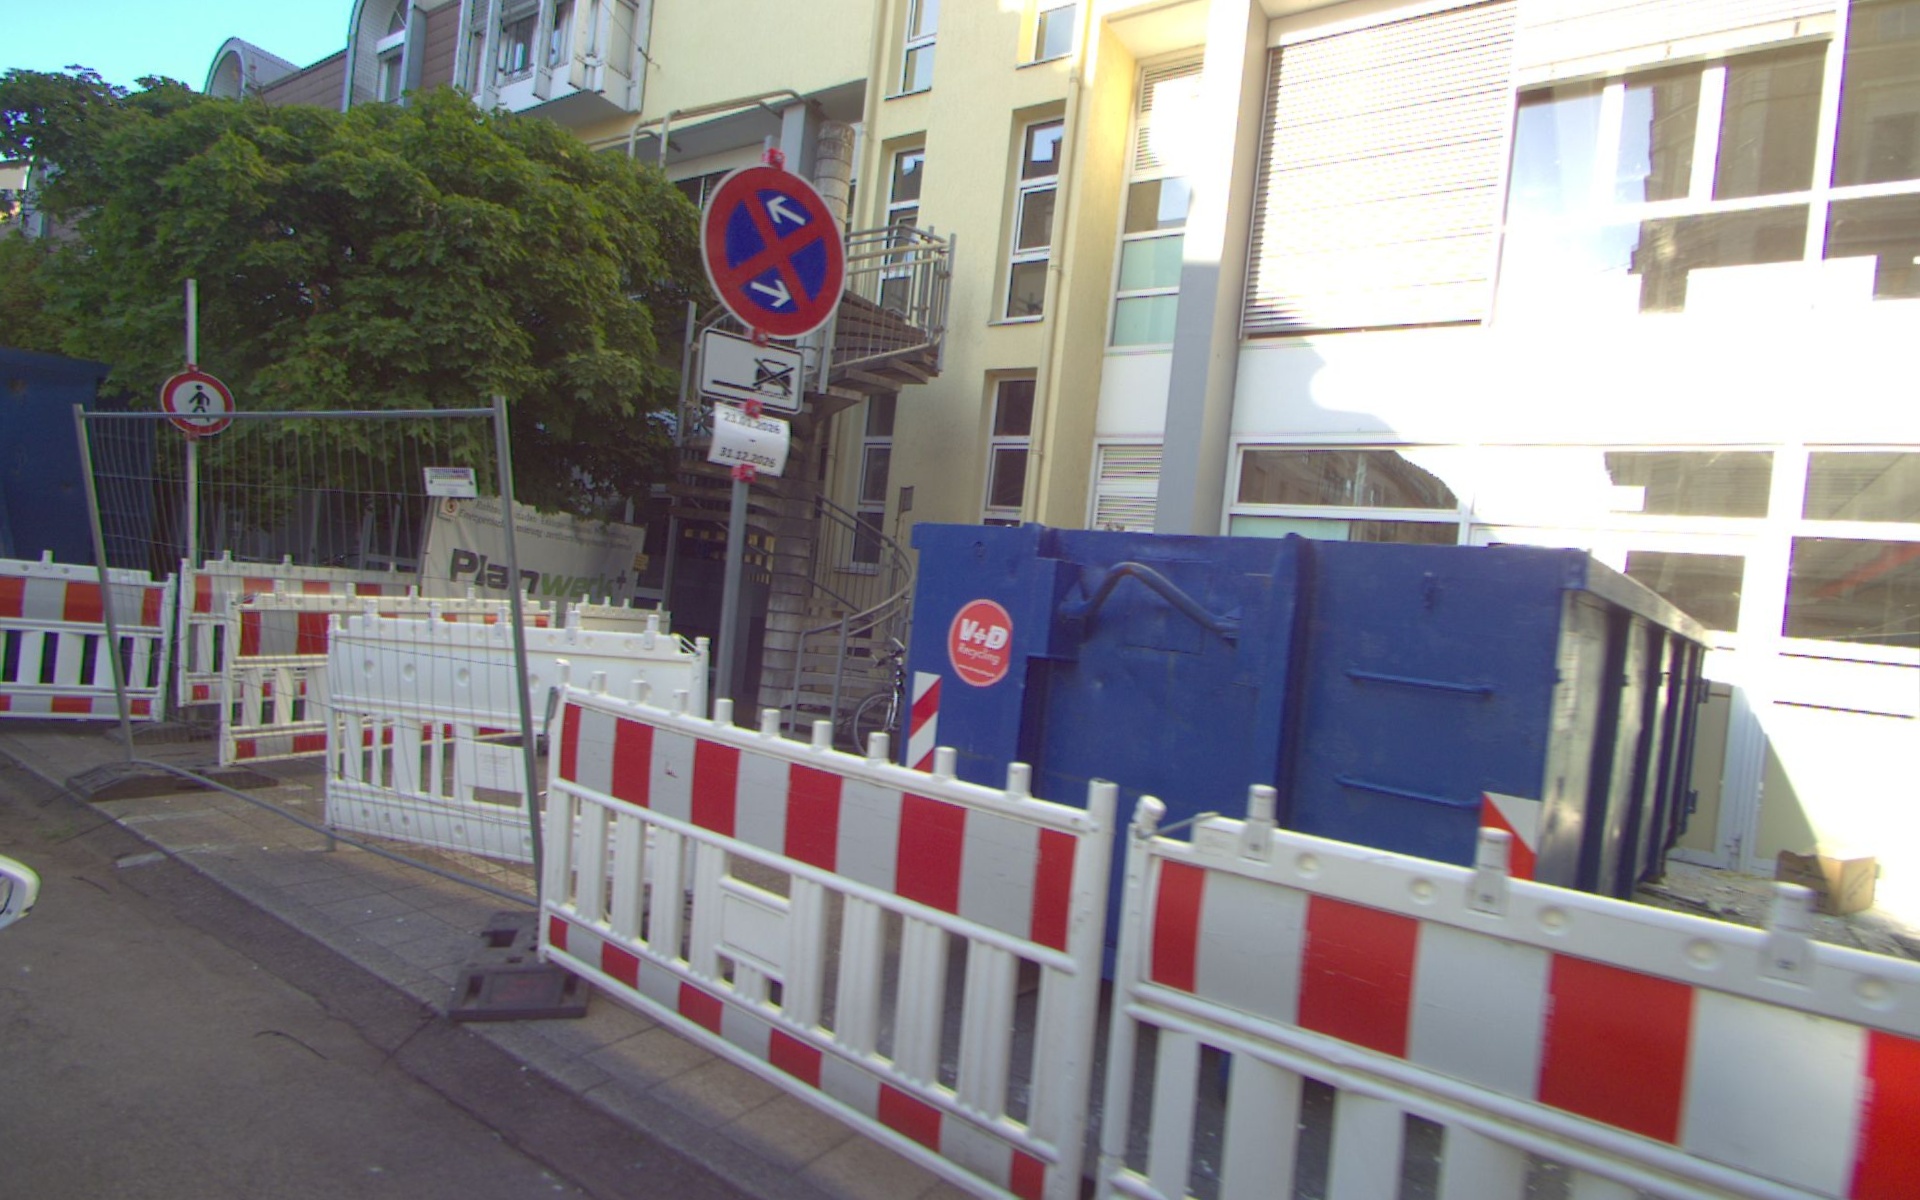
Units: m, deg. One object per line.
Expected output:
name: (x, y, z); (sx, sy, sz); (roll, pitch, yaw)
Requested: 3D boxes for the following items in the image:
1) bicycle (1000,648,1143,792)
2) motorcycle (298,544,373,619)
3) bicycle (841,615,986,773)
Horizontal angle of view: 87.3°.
bicycle: (1.112, 1.087, 9.600); (0.554, 1.182, 1.885); (6, 0, 29)
motorcycle: (-11.676, -0.375, 18.757); (0.865, 1.237, 2.432); (6, -1, -38)
bicycle: (-0.385, 0.867, 9.338); (0.539, 1.282, 1.651); (6, -2, 23)
